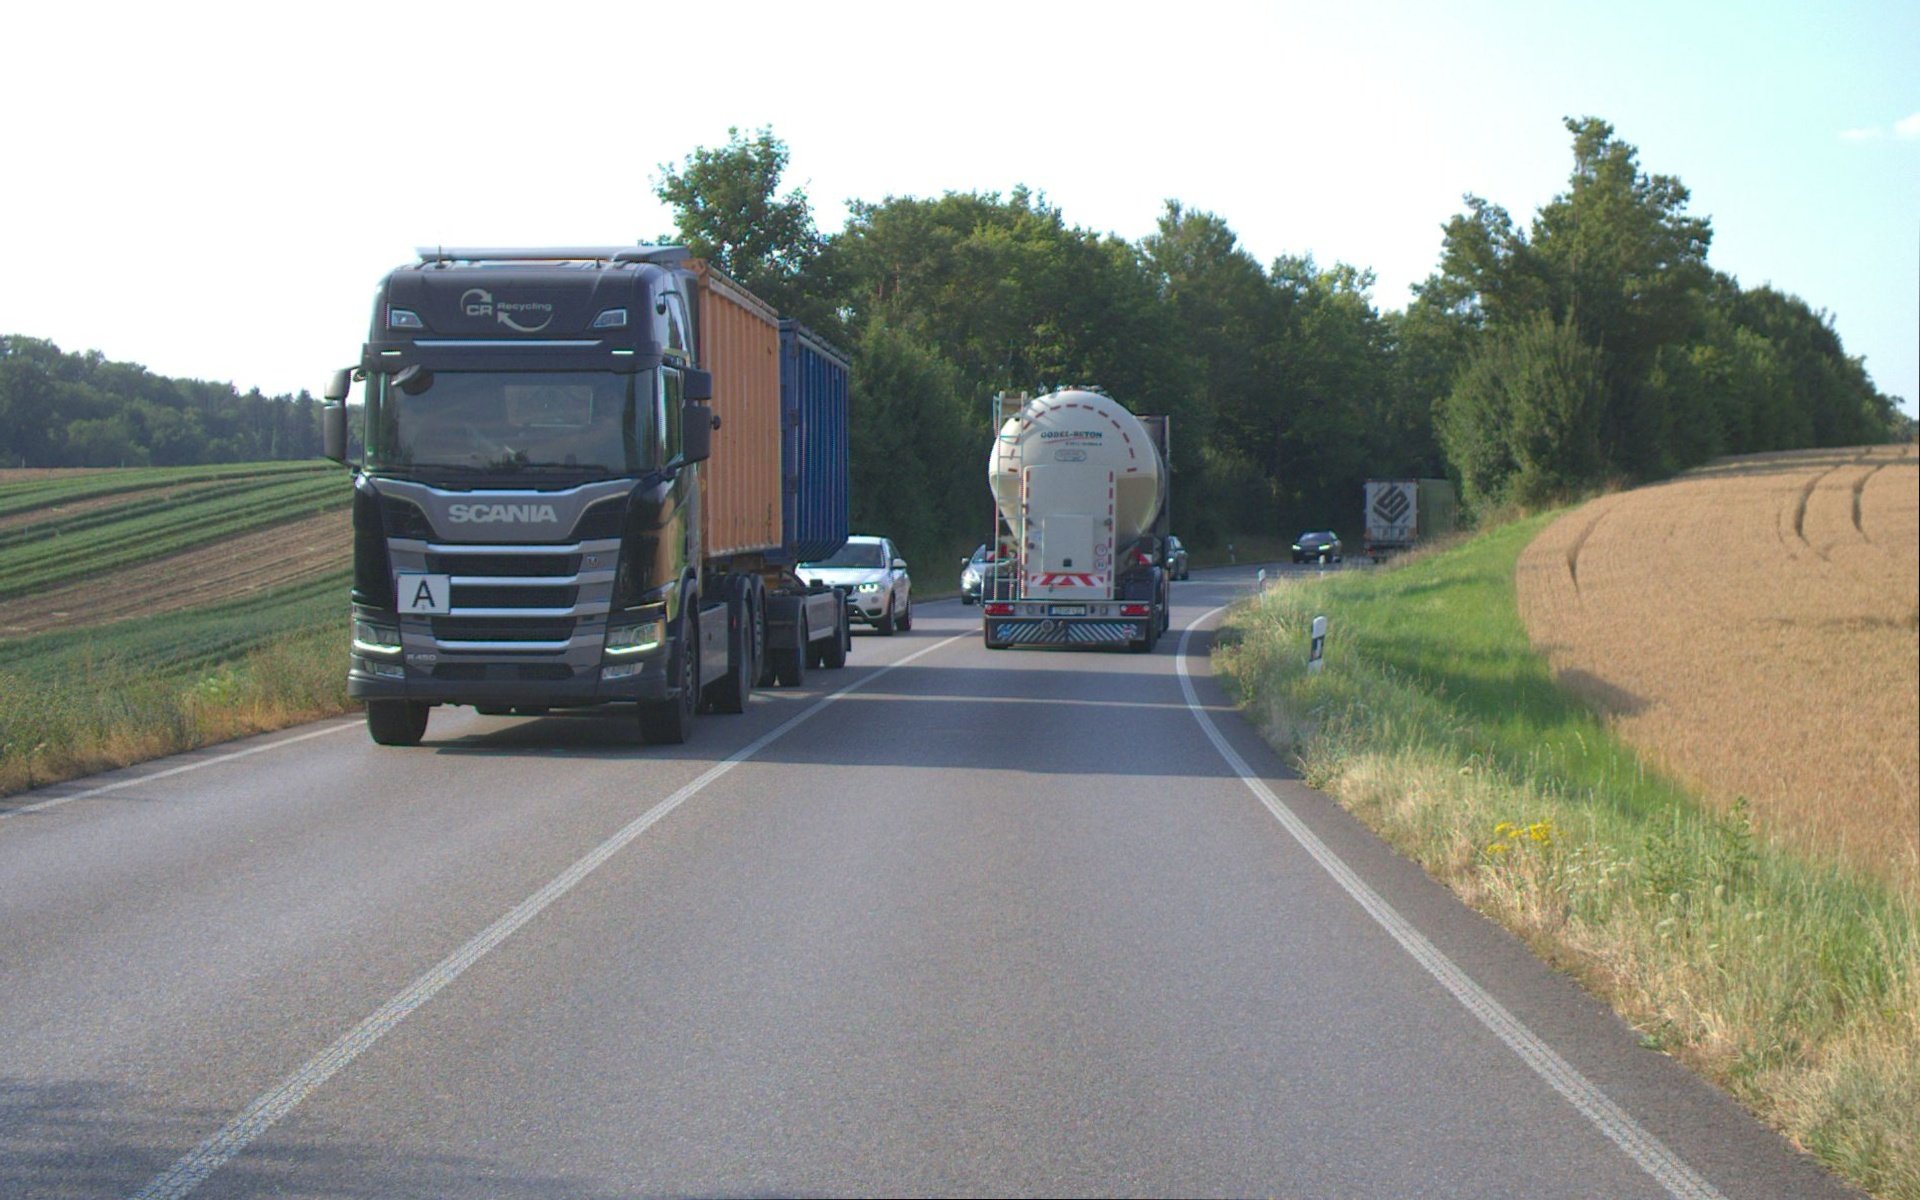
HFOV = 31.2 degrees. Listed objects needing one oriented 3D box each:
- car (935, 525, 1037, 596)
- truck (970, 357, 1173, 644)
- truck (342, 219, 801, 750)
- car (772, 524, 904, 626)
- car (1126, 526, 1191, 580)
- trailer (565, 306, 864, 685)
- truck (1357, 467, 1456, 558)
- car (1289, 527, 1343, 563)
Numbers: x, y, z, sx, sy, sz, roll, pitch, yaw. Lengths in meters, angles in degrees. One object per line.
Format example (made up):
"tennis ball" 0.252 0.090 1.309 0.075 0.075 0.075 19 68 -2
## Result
"car" 0.671 -0.997 84.686 1.975 1.645 4.361 0 2 7
"truck" 1.908 -1.520 56.126 2.893 4.128 13.171 0 1 3
"truck" -3.116 -0.977 30.567 2.389 3.907 10.159 -1 1 3
"car" -2.057 -0.463 59.096 1.975 1.645 4.362 -1 2 2
"car" 7.064 -1.697 122.076 1.901 1.765 4.491 0 2 8
"trailer" -2.671 -1.193 40.164 2.365 3.907 8.961 -1 1 3
"truck" 21.765 -4.243 166.904 3.185 4.213 13.164 0 1 14
"car" 17.229 -2.655 166.350 1.976 1.645 4.733 0 2 14
